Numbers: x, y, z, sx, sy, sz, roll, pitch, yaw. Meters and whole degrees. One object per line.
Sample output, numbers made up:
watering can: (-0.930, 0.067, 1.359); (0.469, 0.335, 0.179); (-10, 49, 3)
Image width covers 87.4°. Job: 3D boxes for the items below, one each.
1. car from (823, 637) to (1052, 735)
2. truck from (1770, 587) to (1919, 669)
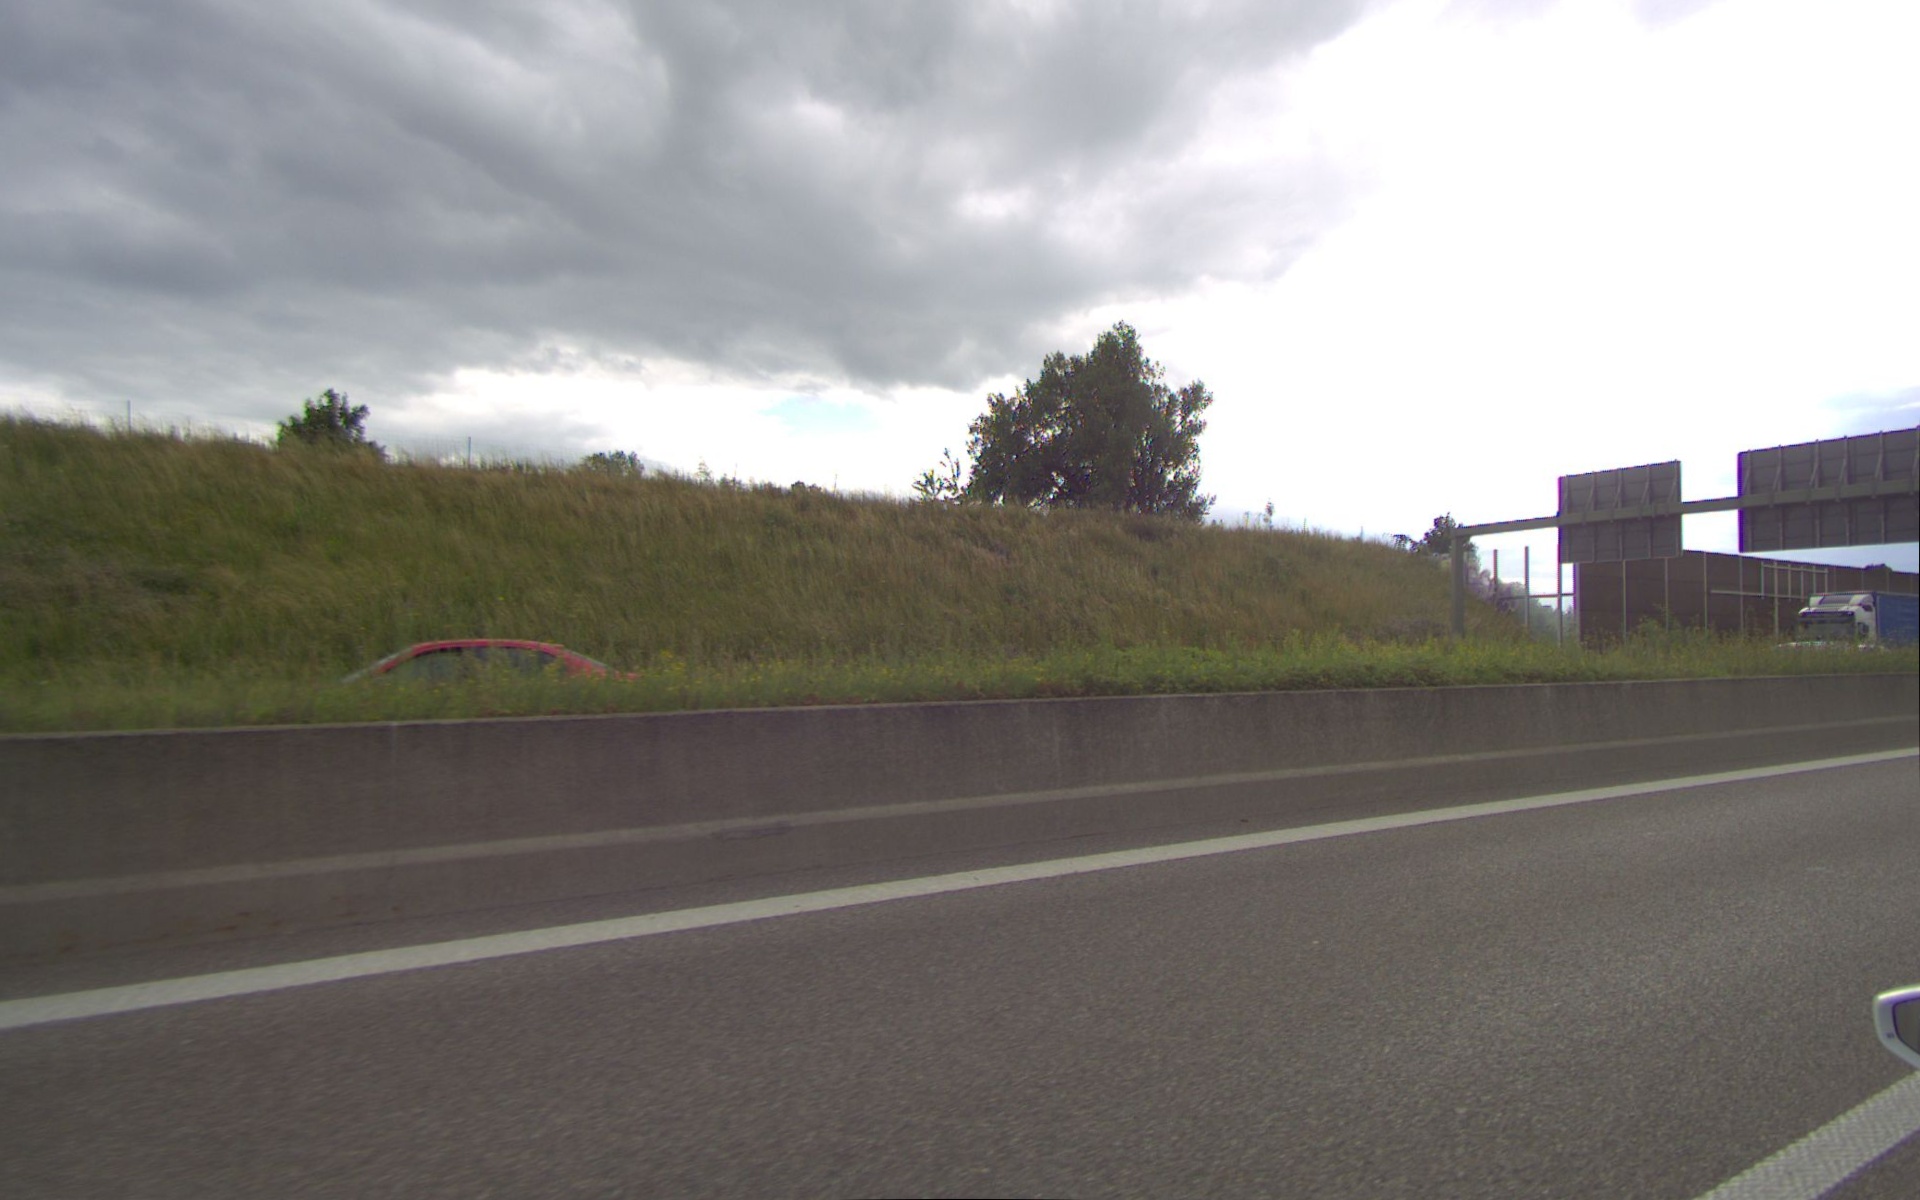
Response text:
car: (-0.305, 1.153, 14.187); (2.891, 1.222, 1.481); (1, -2, -30)
truck: (43.941, 1.397, 49.080); (10.809, 3.650, 3.243); (1, -2, -31)
